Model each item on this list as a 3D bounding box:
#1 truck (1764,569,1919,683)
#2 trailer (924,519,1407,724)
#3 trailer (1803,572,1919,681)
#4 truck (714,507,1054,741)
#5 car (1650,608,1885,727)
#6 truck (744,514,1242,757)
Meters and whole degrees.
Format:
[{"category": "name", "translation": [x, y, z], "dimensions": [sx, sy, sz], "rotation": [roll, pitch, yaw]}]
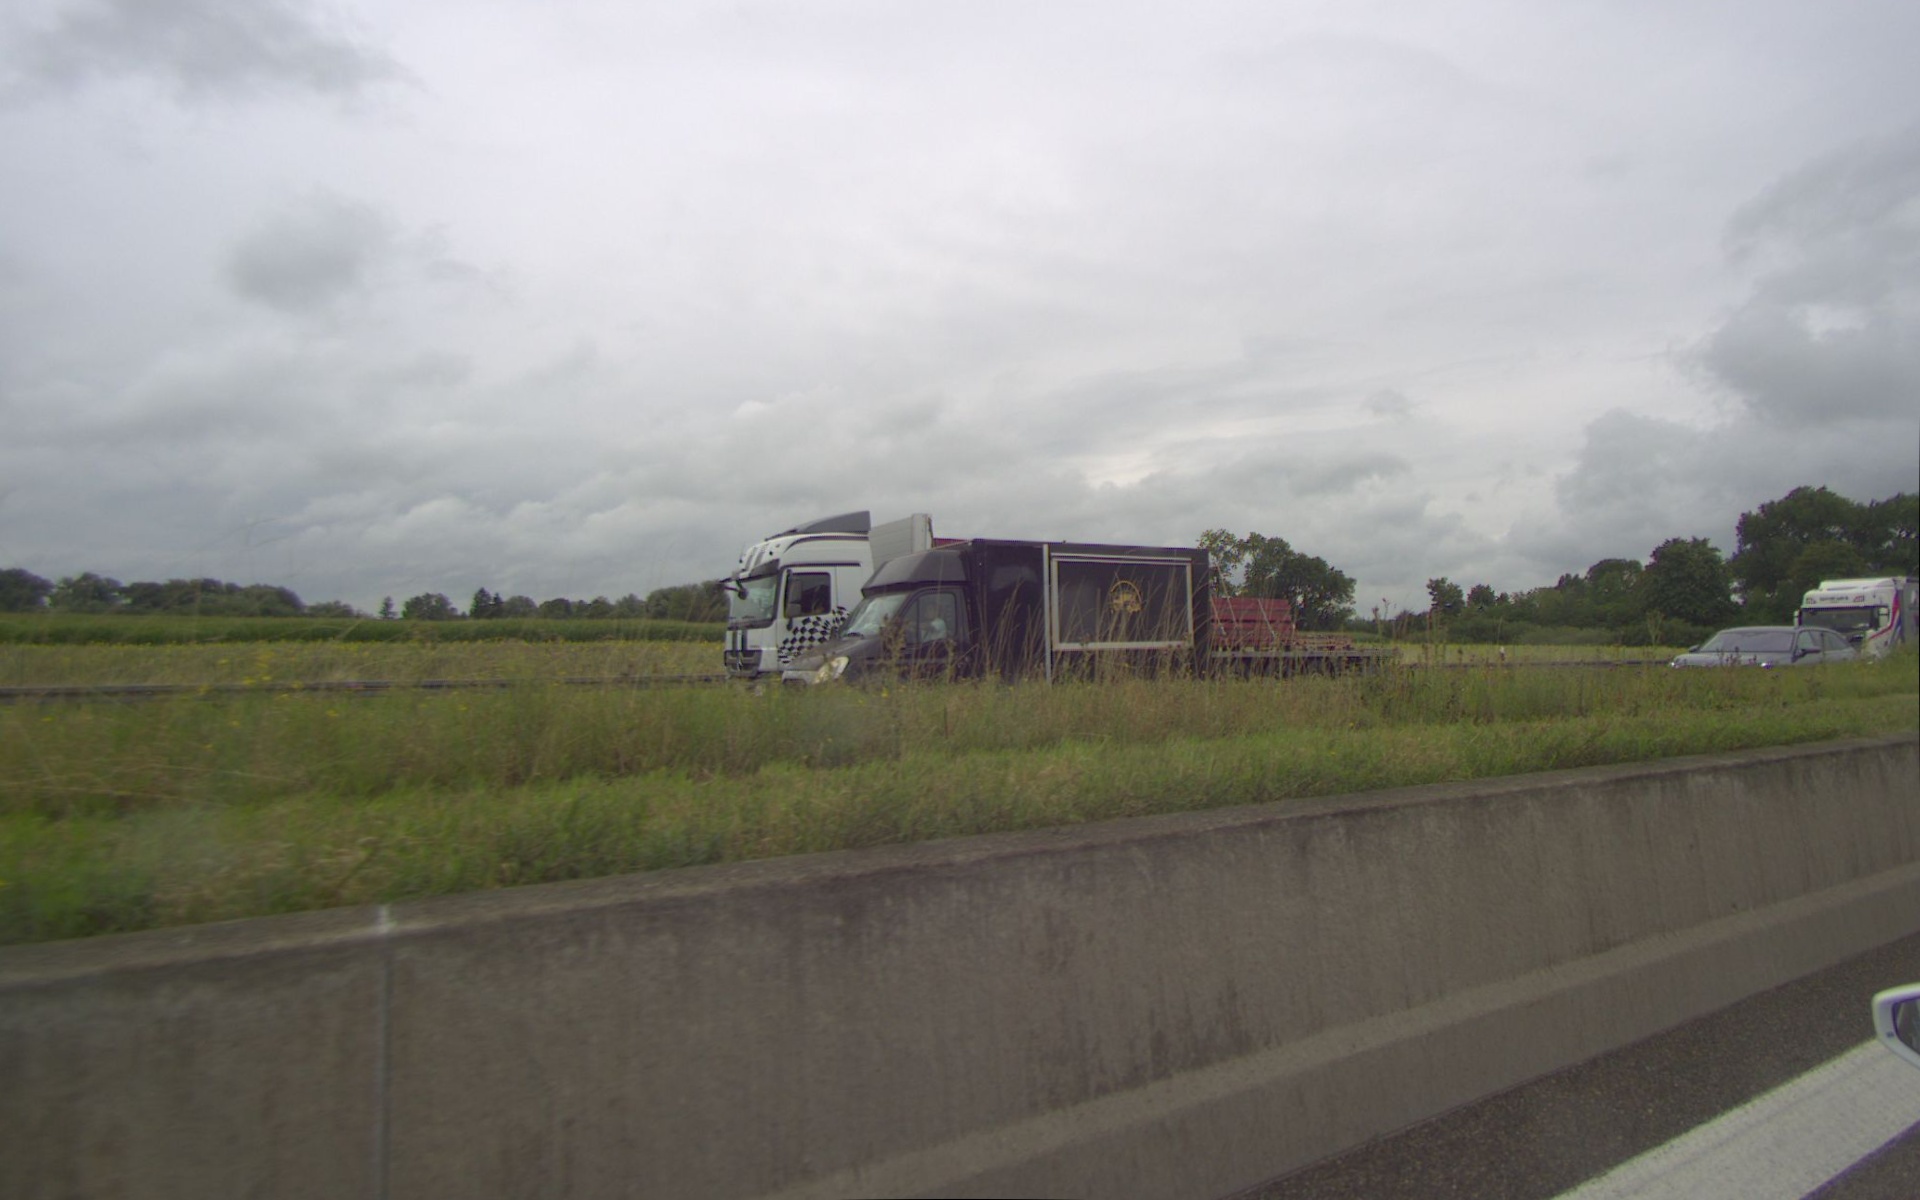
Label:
[{"category": "truck", "translation": [37.165, 1.090, 41.564], "dimensions": [7.503, 4.331, 3.598], "rotation": [2, 0, -30]}, {"category": "trailer", "translation": [5.099, 0.405, 22.678], "dimensions": [12.050, 3.776, 2.628], "rotation": [0, 1, -31]}, {"category": "trailer", "translation": [43.884, 1.261, 45.556], "dimensions": [15.442, 4.328, 3.695], "rotation": [2, 0, -31]}, {"category": "truck", "translation": [-1.368, 0.381, 18.805], "dimensions": [5.802, 3.776, 2.628], "rotation": [0, 1, -30]}, {"category": "car", "translation": [15.602, 1.231, 19.358], "dimensions": [4.744, 2.040, 1.984], "rotation": [1, -2, -30]}, {"category": "truck", "translation": [0.703, 0.530, 15.070], "dimensions": [7.337, 2.947, 2.300], "rotation": [2, 0, -30]}]
